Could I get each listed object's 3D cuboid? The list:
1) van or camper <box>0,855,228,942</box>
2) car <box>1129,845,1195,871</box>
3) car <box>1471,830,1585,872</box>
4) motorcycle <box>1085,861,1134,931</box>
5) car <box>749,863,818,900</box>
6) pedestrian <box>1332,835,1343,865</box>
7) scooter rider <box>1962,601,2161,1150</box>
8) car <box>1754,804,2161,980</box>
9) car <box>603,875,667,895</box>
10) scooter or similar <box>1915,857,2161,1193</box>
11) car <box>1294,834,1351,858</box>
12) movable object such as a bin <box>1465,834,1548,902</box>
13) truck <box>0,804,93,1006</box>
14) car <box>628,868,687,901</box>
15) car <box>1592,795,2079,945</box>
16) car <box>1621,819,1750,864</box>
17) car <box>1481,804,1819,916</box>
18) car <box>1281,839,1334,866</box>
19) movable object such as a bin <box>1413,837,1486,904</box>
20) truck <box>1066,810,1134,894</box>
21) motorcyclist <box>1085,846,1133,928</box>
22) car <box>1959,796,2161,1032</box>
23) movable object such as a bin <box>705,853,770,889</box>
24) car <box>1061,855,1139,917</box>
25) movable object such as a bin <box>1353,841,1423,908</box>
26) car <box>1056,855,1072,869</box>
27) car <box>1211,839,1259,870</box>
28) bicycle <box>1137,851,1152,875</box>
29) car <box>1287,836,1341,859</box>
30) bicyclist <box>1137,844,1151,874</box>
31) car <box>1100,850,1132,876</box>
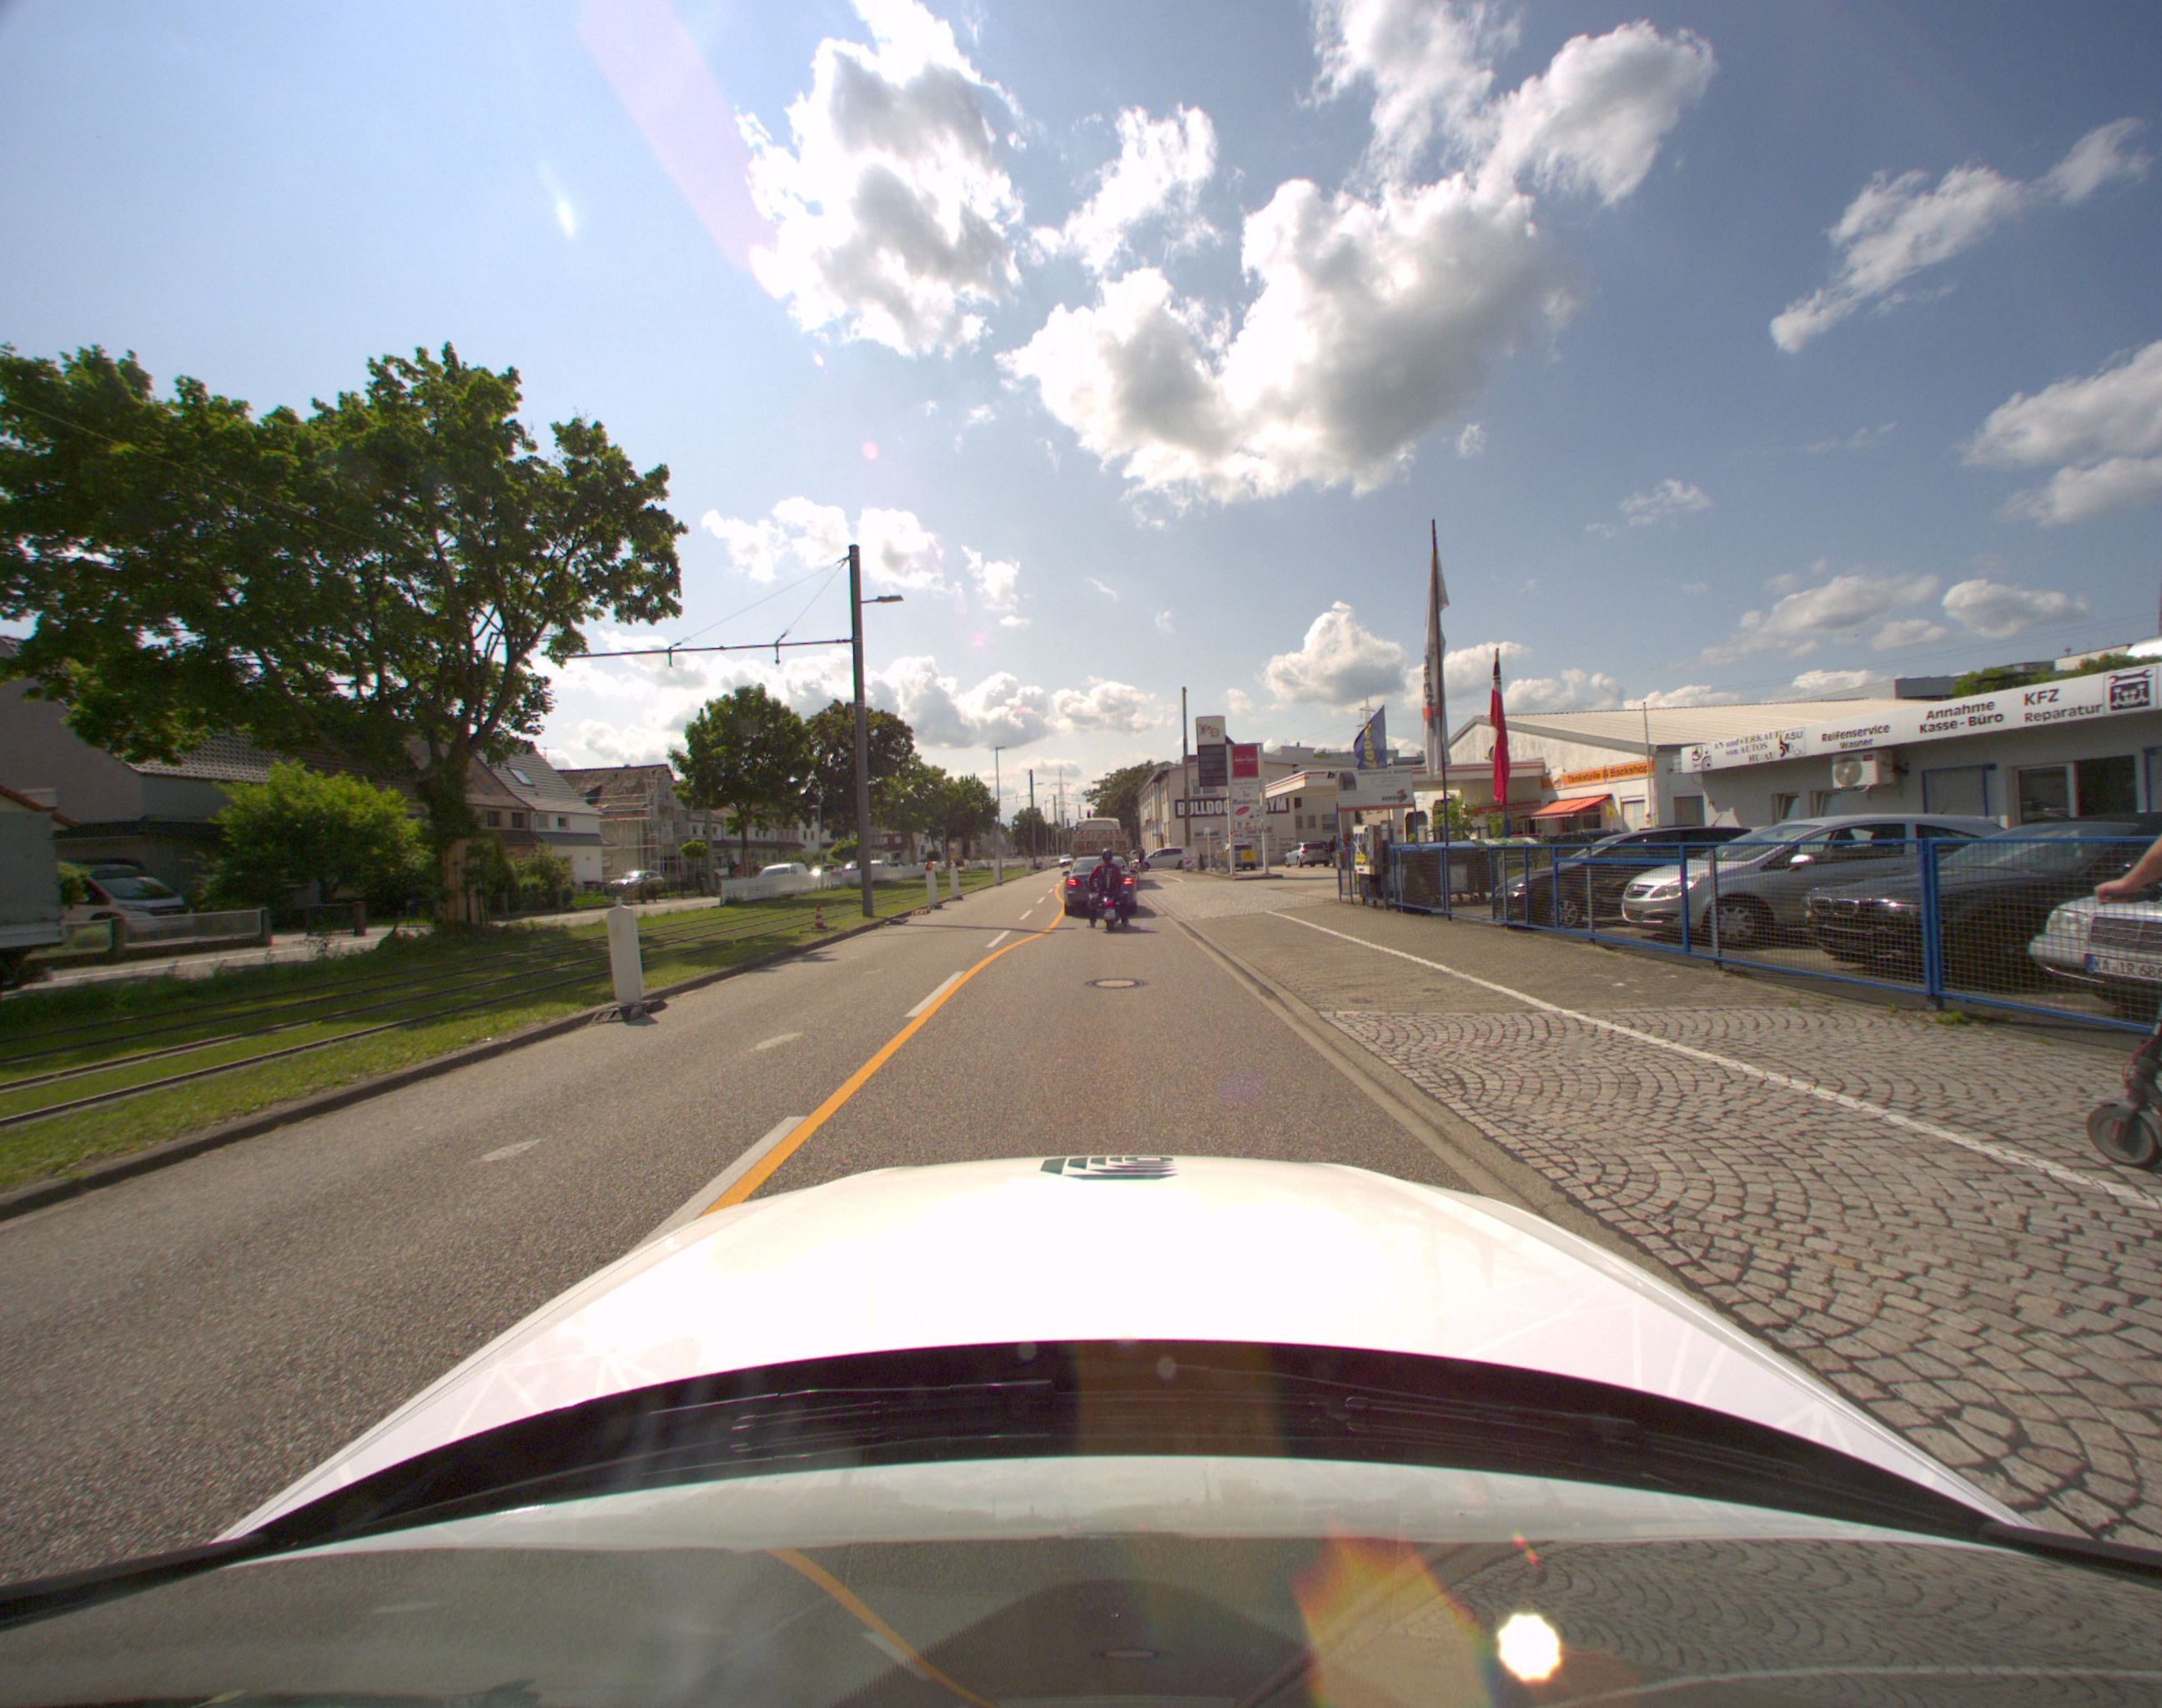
[{"bbox_3d":[-32.568,1.397,26.693,6.078,2.639,2.698,1,-1,-3],"label":"van or camper"},{"bbox_3d":[5.794,0.292,58.736,4.327,1.551,1.945,-3,-1,-8],"label":"car"},{"bbox_3d":[16.648,-0.103,30.422,3.309,1.360,1.612,-3,-1,1],"label":"car"},{"bbox_3d":[0.574,0.819,16.988,0.936,1.320,2.645,-1,0,1],"label":"motorcycle"},{"bbox_3d":[-15.481,1.389,42.612,1.986,1.750,4.001,-3,-1,1],"label":"car"},{"bbox_3d":[14.825,-0.243,47.163,0.395,1.689,0.485,-3,-1,2],"label":"pedestrian"},{"bbox_3d":[4.216,0.072,3.124,0.714,1.963,0.785,-3,-1,1],"label":"scooter rider"},{"bbox_3d":[8.949,0.273,7.402,3.963,1.356,1.825,-3,-1,9],"label":"car"},{"bbox_3d":[-27.439,1.902,50.258,1.679,1.052,3.980,-3,-1,1],"label":"car"},{"bbox_3d":[4.184,0.627,2.975,0.539,1.195,1.611,-4,-1,1],"label":"scooter or similar"},{"bbox_3d":[19.516,-0.615,65.934,3.974,1.648,1.965,-3,-1,0],"label":"car"},{"bbox_3d":[9.774,0.323,18.735,1.319,1.444,0.953,-3,-1,-6],"label":"movable object such as a bin"},{"bbox_3d":[-15.817,0.803,8.924,1.987,2.767,6.277,-6,0,1],"label":"truck"},{"bbox_3d":[-24.396,1.705,46.994,1.679,1.722,3.030,-3,-1,1],"label":"car"},{"bbox_3d":[8.804,0.219,9.949,3.956,1.496,1.758,-3,-1,16],"label":"car"},{"bbox_3d":[22.060,-0.438,29.806,3.484,1.360,1.612,-3,-1,1],"label":"car"},{"bbox_3d":[8.579,0.119,12.704,3.955,1.442,1.719,-3,-1,18],"label":"car"},{"bbox_3d":[13.543,-0.051,48.875,1.953,1.420,3.998,-3,-1,-1],"label":"car"},{"bbox_3d":[8.451,0.376,18.719,1.252,1.444,0.824,-3,-1,1],"label":"movable object such as a bin"},{"bbox_3d":[0.917,-0.165,37.804,2.601,3.255,9.186,-3,1,2],"label":"truck"},{"bbox_3d":[0.572,0.665,16.808,0.936,1.615,1.205,-1,0,1],"label":"motorcyclist"},{"bbox_3d":[8.637,0.262,5.012,4.160,1.431,1.824,-3,-1,7],"label":"car"},{"bbox_3d":[-26.254,1.276,62.380,4.352,2.449,1.776,-3,0,-21],"label":"movable object such as a bin"},{"bbox_3d":[0.490,0.769,21.449,1.815,1.424,4.001,-2,0,1],"label":"car"},{"bbox_3d":[7.084,0.460,18.840,1.252,1.444,0.824,-3,-1,1],"label":"movable object such as a bin"},{"bbox_3d":[-1.942,0.874,93.664,1.650,1.447,4.301,-3,0,-1],"label":"car"},{"bbox_3d":[9.032,0.058,48.195,1.953,1.648,3.998,-3,-1,-1],"label":"car"},{"bbox_3d":[3.798,0.534,48.621,0.690,1.361,2.419,-3,0,1],"label":"bicycle"},{"bbox_3d":[19.564,-0.561,68.479,3.974,1.648,1.965,-3,-1,0],"label":"car"},{"bbox_3d":[3.734,0.272,48.441,0.669,1.744,0.813,-3,0,0],"label":"bicyclist"},{"bbox_3d":[2.150,0.530,50.653,1.815,1.464,4.001,-2,0,1],"label":"car"}]
